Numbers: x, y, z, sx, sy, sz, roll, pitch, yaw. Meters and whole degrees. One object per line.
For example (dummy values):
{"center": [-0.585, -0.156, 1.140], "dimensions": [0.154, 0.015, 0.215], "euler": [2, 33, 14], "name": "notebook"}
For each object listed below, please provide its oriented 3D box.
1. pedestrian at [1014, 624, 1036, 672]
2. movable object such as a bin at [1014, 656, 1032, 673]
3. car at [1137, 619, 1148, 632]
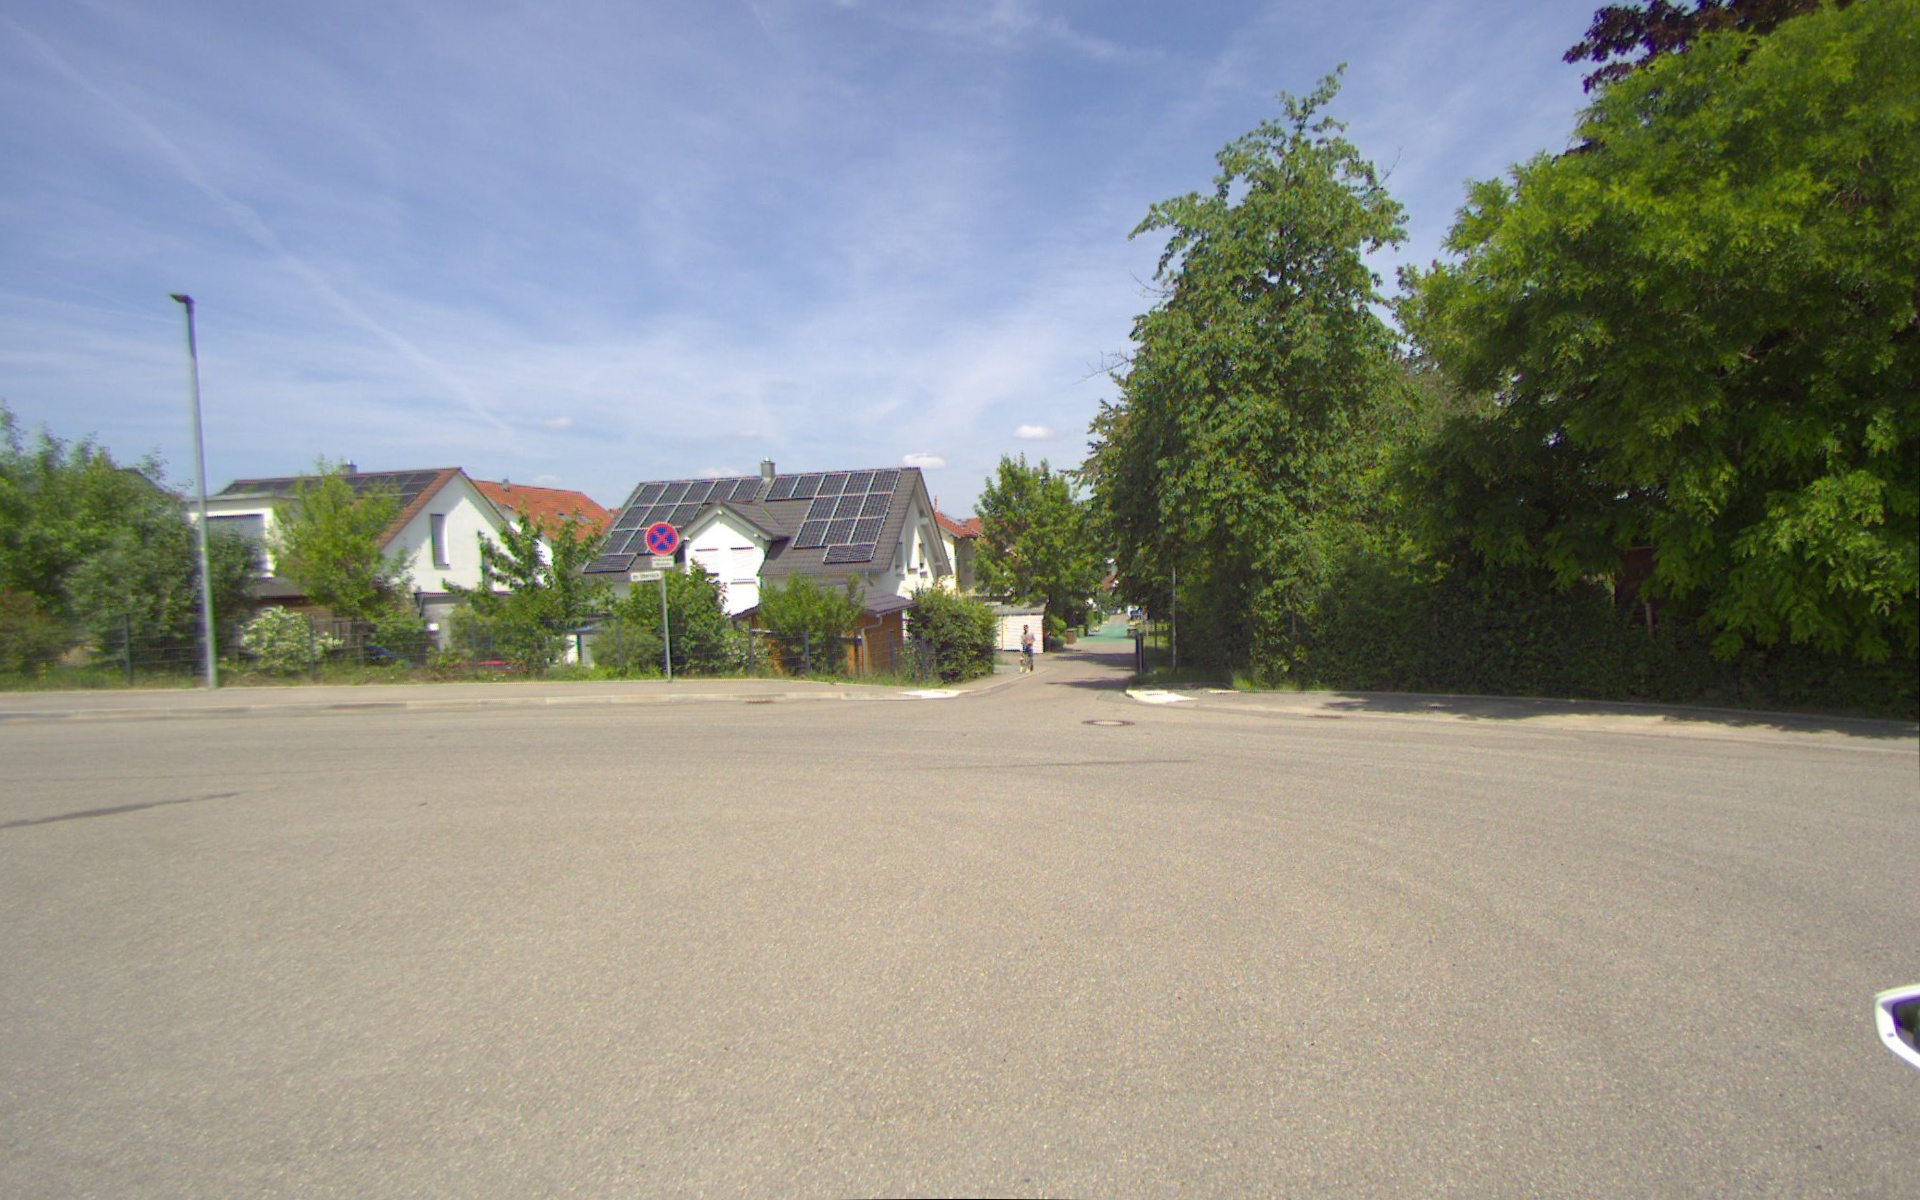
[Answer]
{"center": [2.538, 1.865, 39.067], "dimensions": [0.831, 1.843, 0.836], "euler": [-1, -4, 4], "name": "pedestrian"}
{"center": [2.344, 2.400, 37.362], "dimensions": [0.538, 0.637, 1.022], "euler": [0, -3, 11], "name": "movable object such as a bin"}
{"center": [29.944, 4.220, 164.678], "dimensions": [1.702, 2.040, 4.003], "euler": [0, -2, 10], "name": "car"}
